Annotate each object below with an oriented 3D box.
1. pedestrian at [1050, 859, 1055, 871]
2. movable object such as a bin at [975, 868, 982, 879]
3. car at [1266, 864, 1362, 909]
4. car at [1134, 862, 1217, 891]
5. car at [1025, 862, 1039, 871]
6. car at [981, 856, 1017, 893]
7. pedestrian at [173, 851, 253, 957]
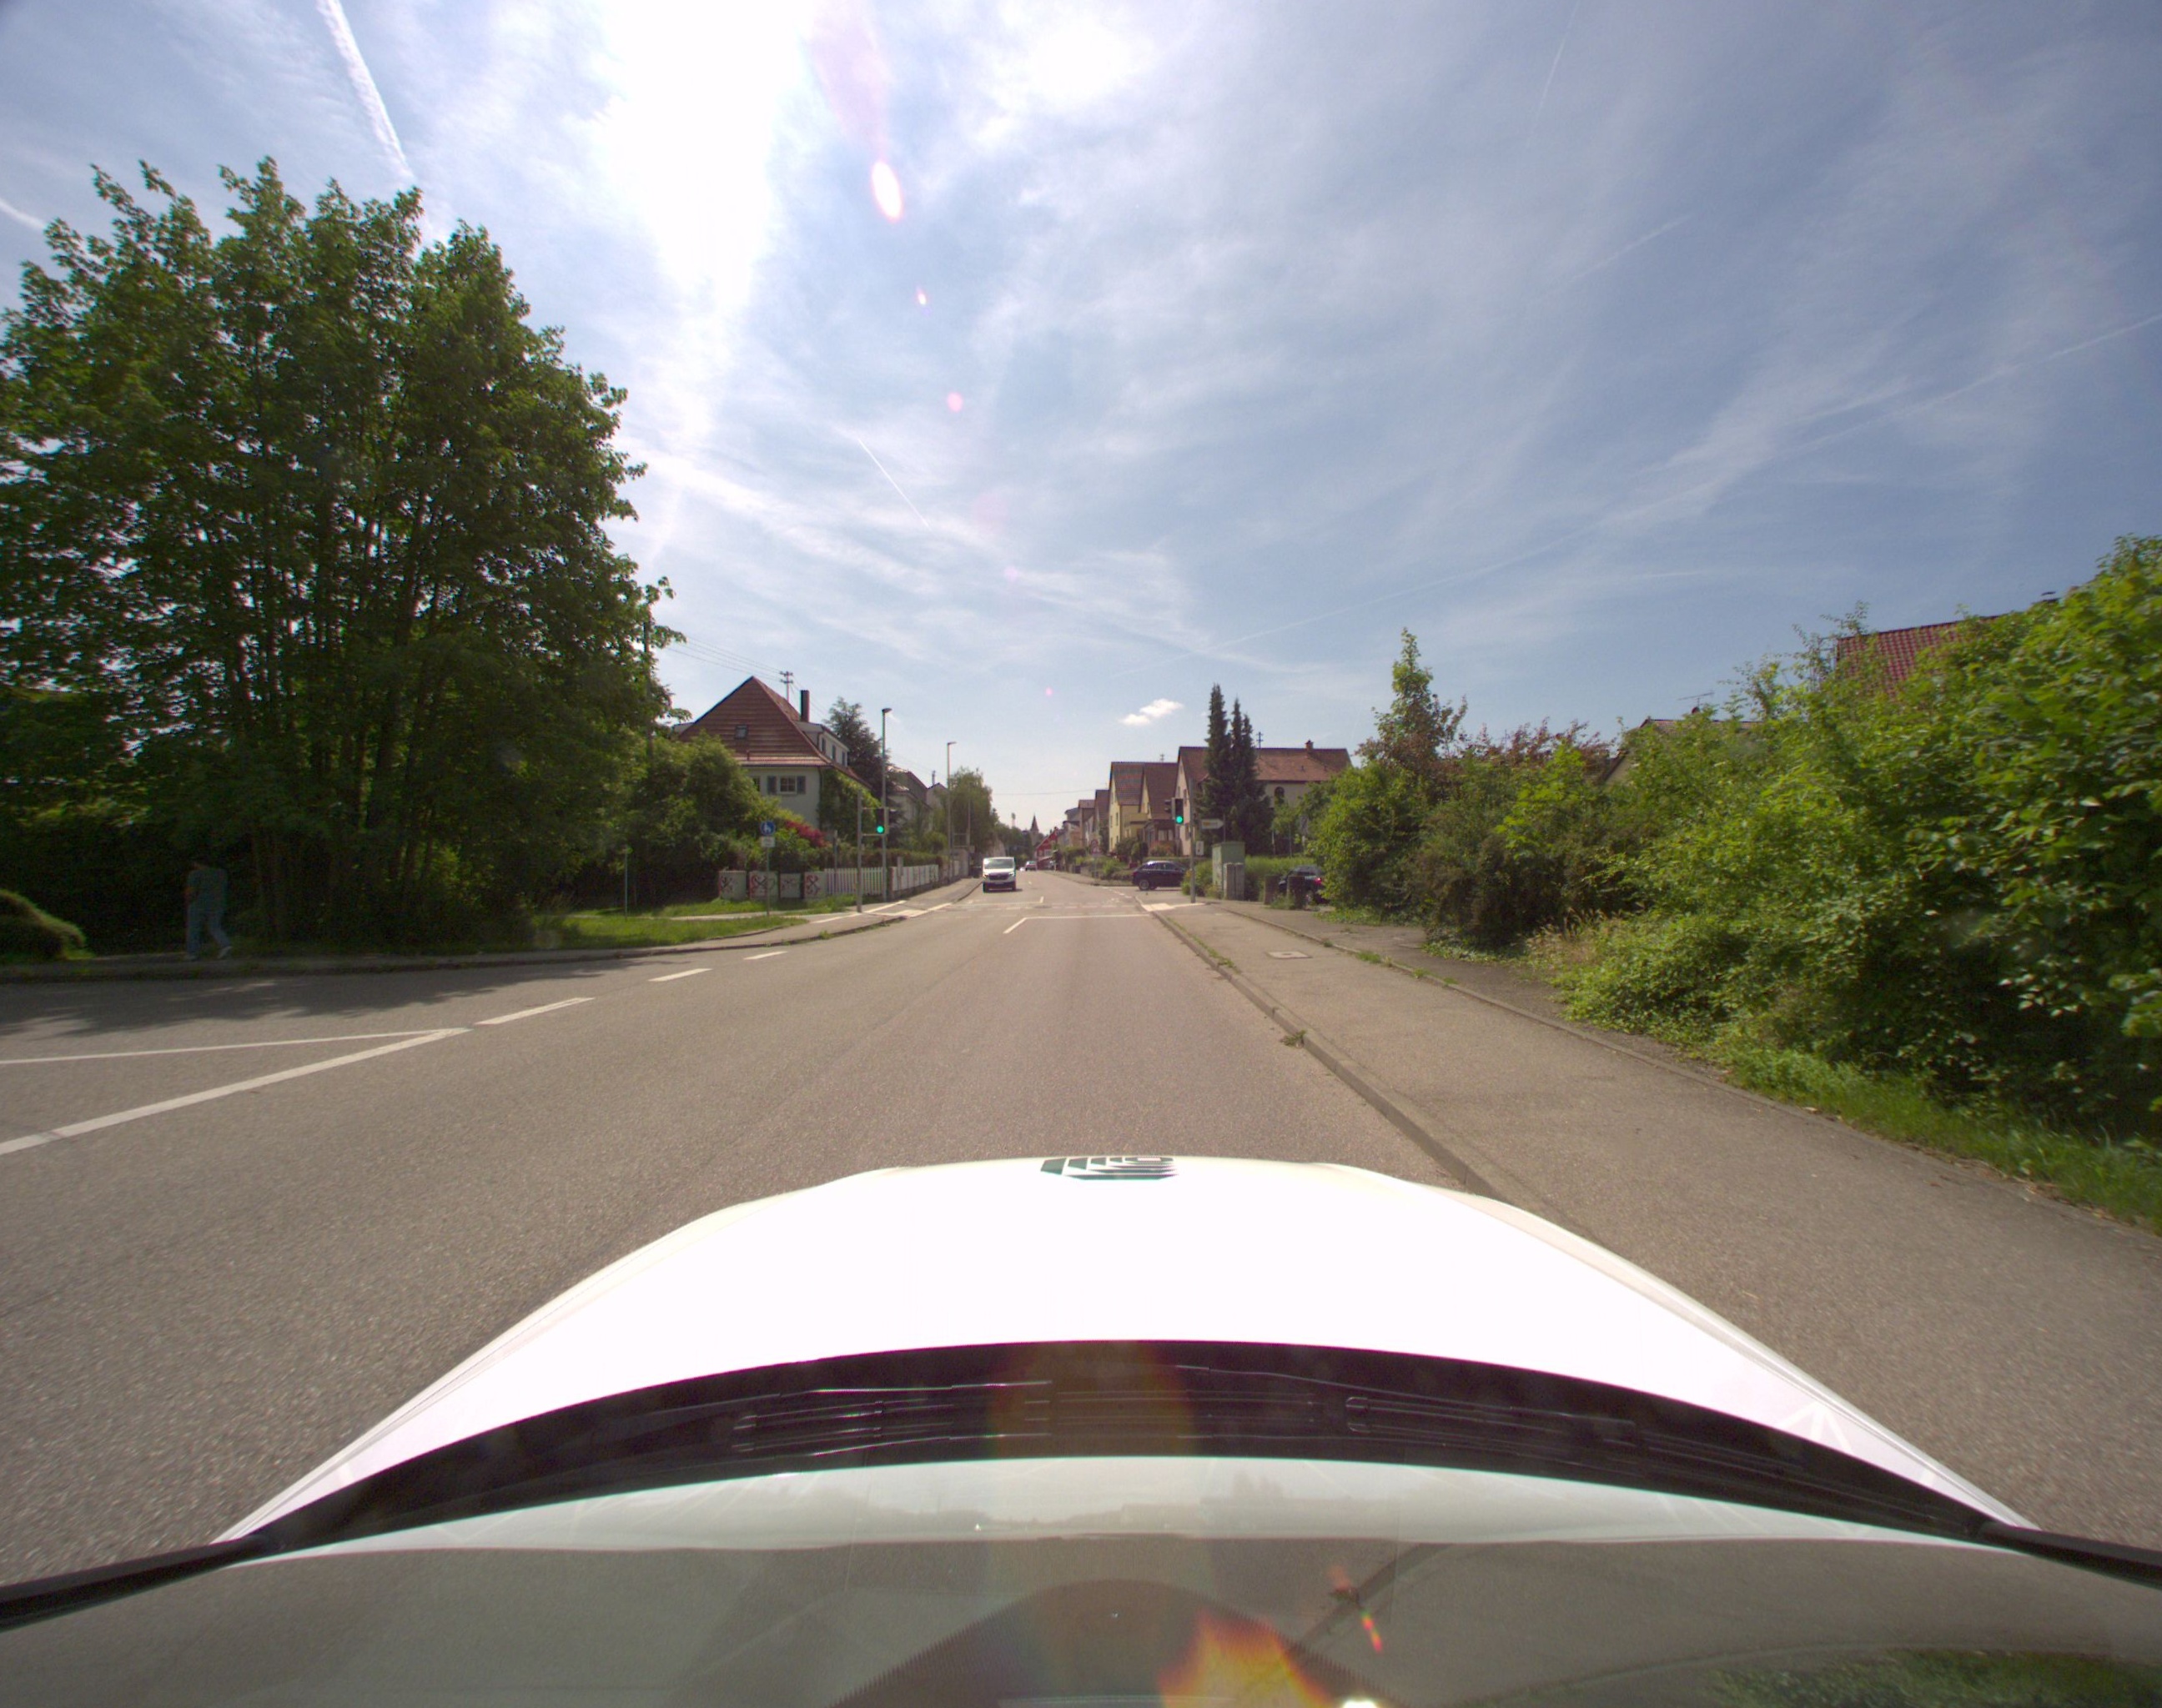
[{"bbox_3d":[-4.276,1.667,123.649,0.645,1.730,0.607,-3,0,-6],"label":"pedestrian"},{"bbox_3d":[-9.926,1.871,78.782,0.607,1.046,0.724,0,1,-6],"label":"movable object such as a bin"},{"bbox_3d":[8.538,1.230,30.177,1.711,1.552,4.046,1,-3,-12],"label":"car"},{"bbox_3d":[5.171,1.222,44.458,4.256,1.541,1.547,-1,0,18],"label":"car"},{"bbox_3d":[-8.290,2.074,136.472,1.993,1.560,4.301,-1,0,-8],"label":"car"},{"bbox_3d":[-4.771,1.159,47.513,1.876,1.965,4.893,-2,0,-6],"label":"car"},{"bbox_3d":[-15.005,0.853,14.083,0.729,1.777,0.693,-3,-2,19],"label":"pedestrian"}]
